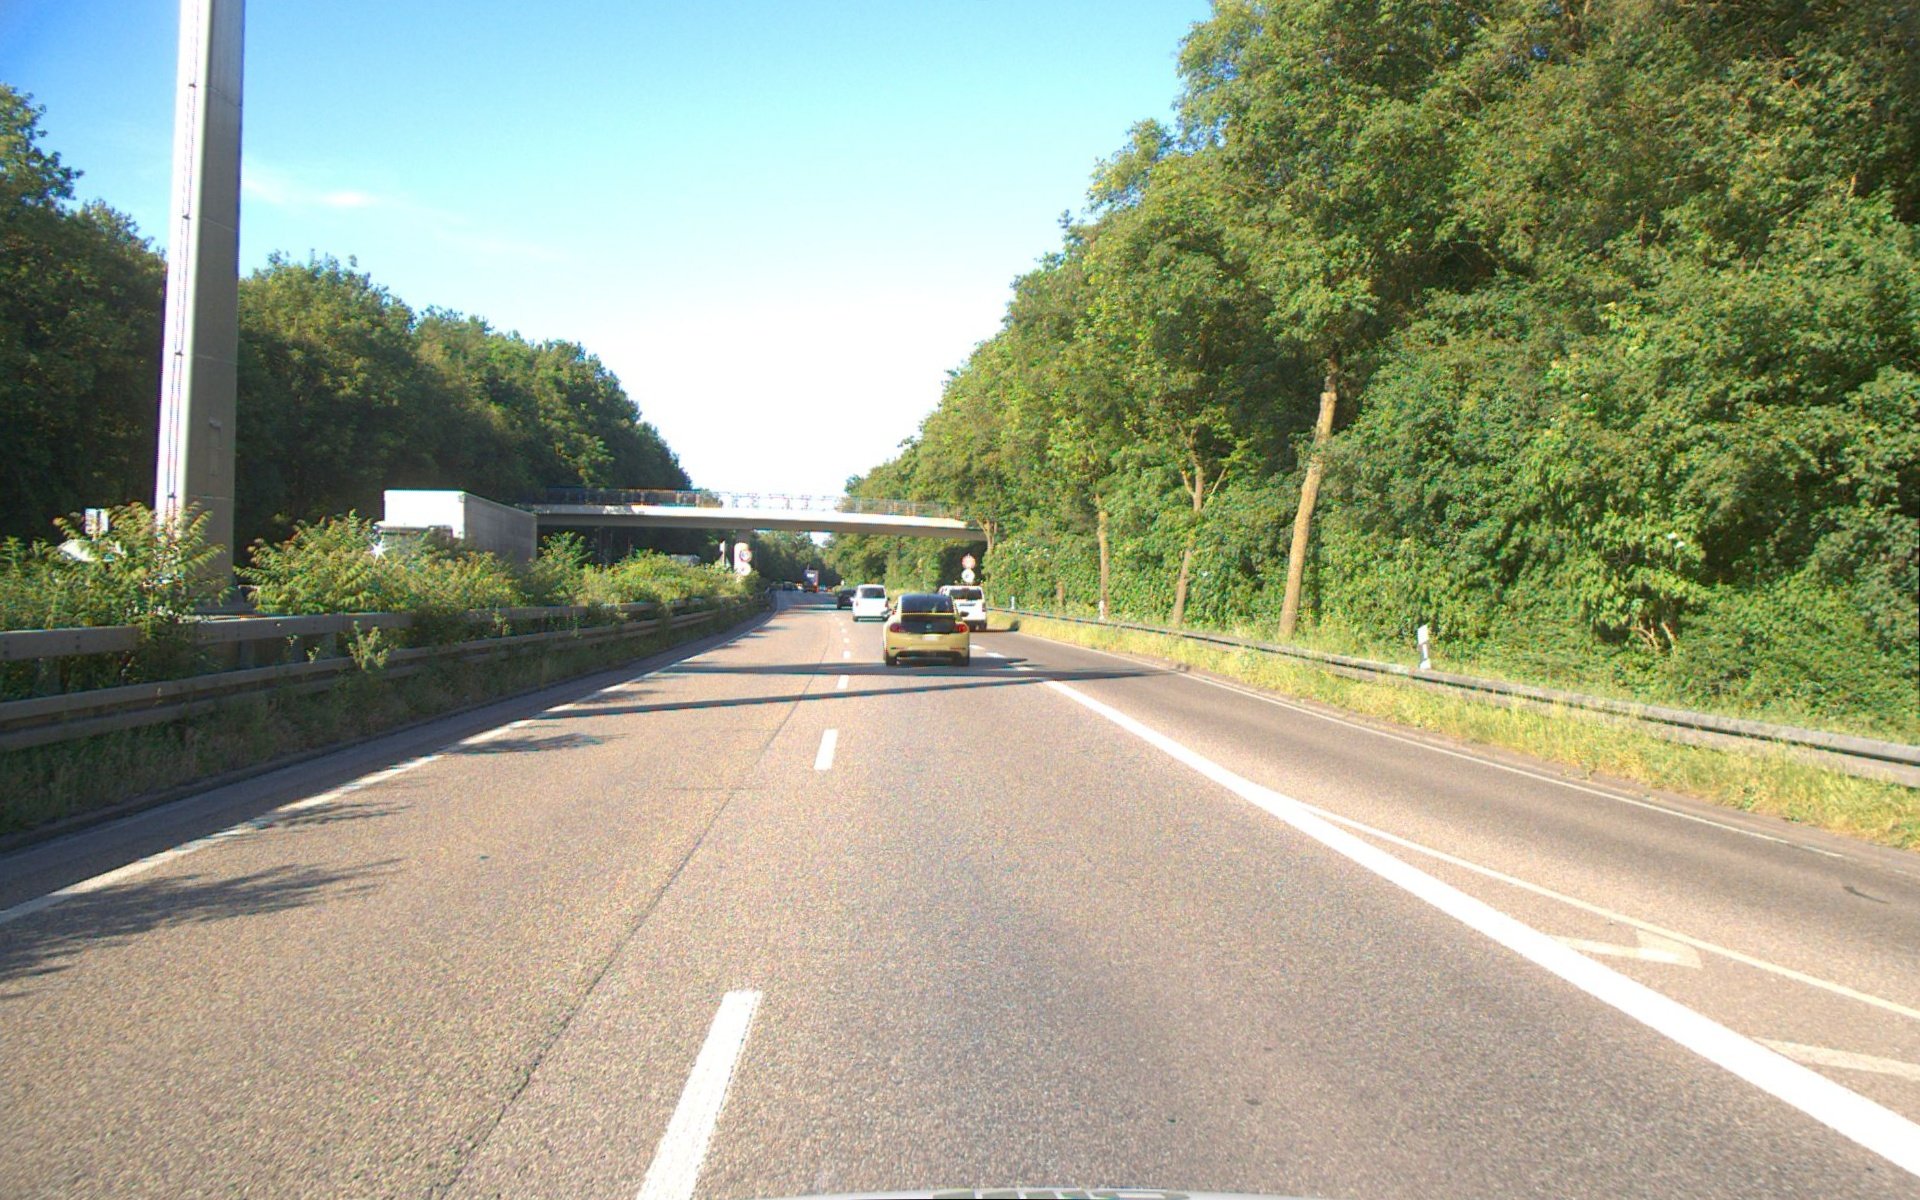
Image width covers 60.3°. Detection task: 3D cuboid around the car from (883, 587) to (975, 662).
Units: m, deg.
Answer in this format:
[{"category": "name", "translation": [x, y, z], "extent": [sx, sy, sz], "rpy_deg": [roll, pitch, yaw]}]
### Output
[{"category": "car", "translation": [-0.698, 0.493, 35.577], "extent": [1.859, 1.496, 3.998], "rpy_deg": [1, 0, -2]}]

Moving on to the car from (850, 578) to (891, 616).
[{"category": "car", "translation": [-4.492, -0.163, 82.530], "extent": [1.860, 1.798, 3.996], "rpy_deg": [1, 0, -5]}]

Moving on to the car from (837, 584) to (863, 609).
[{"category": "car", "translation": [-8.130, -0.278, 122.076], "extent": [1.860, 1.798, 3.996], "rpy_deg": [1, 0, -5]}]

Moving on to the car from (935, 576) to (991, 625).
[{"category": "car", "translation": [0.087, 0.005, 64.672], "extent": [1.860, 1.855, 3.996], "rpy_deg": [1, 0, -5]}]

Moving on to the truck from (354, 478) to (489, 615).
[{"category": "truck", "translation": [-17.409, -1.656, 53.867], "extent": [2.684, 4.097, 6.174], "rpy_deg": [2, 0, -5]}]

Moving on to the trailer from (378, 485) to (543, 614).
[{"category": "trailer", "translation": [-17.912, -1.676, 60.478], "extent": [2.684, 4.097, 14.062], "rpy_deg": [2, 0, -4]}]
